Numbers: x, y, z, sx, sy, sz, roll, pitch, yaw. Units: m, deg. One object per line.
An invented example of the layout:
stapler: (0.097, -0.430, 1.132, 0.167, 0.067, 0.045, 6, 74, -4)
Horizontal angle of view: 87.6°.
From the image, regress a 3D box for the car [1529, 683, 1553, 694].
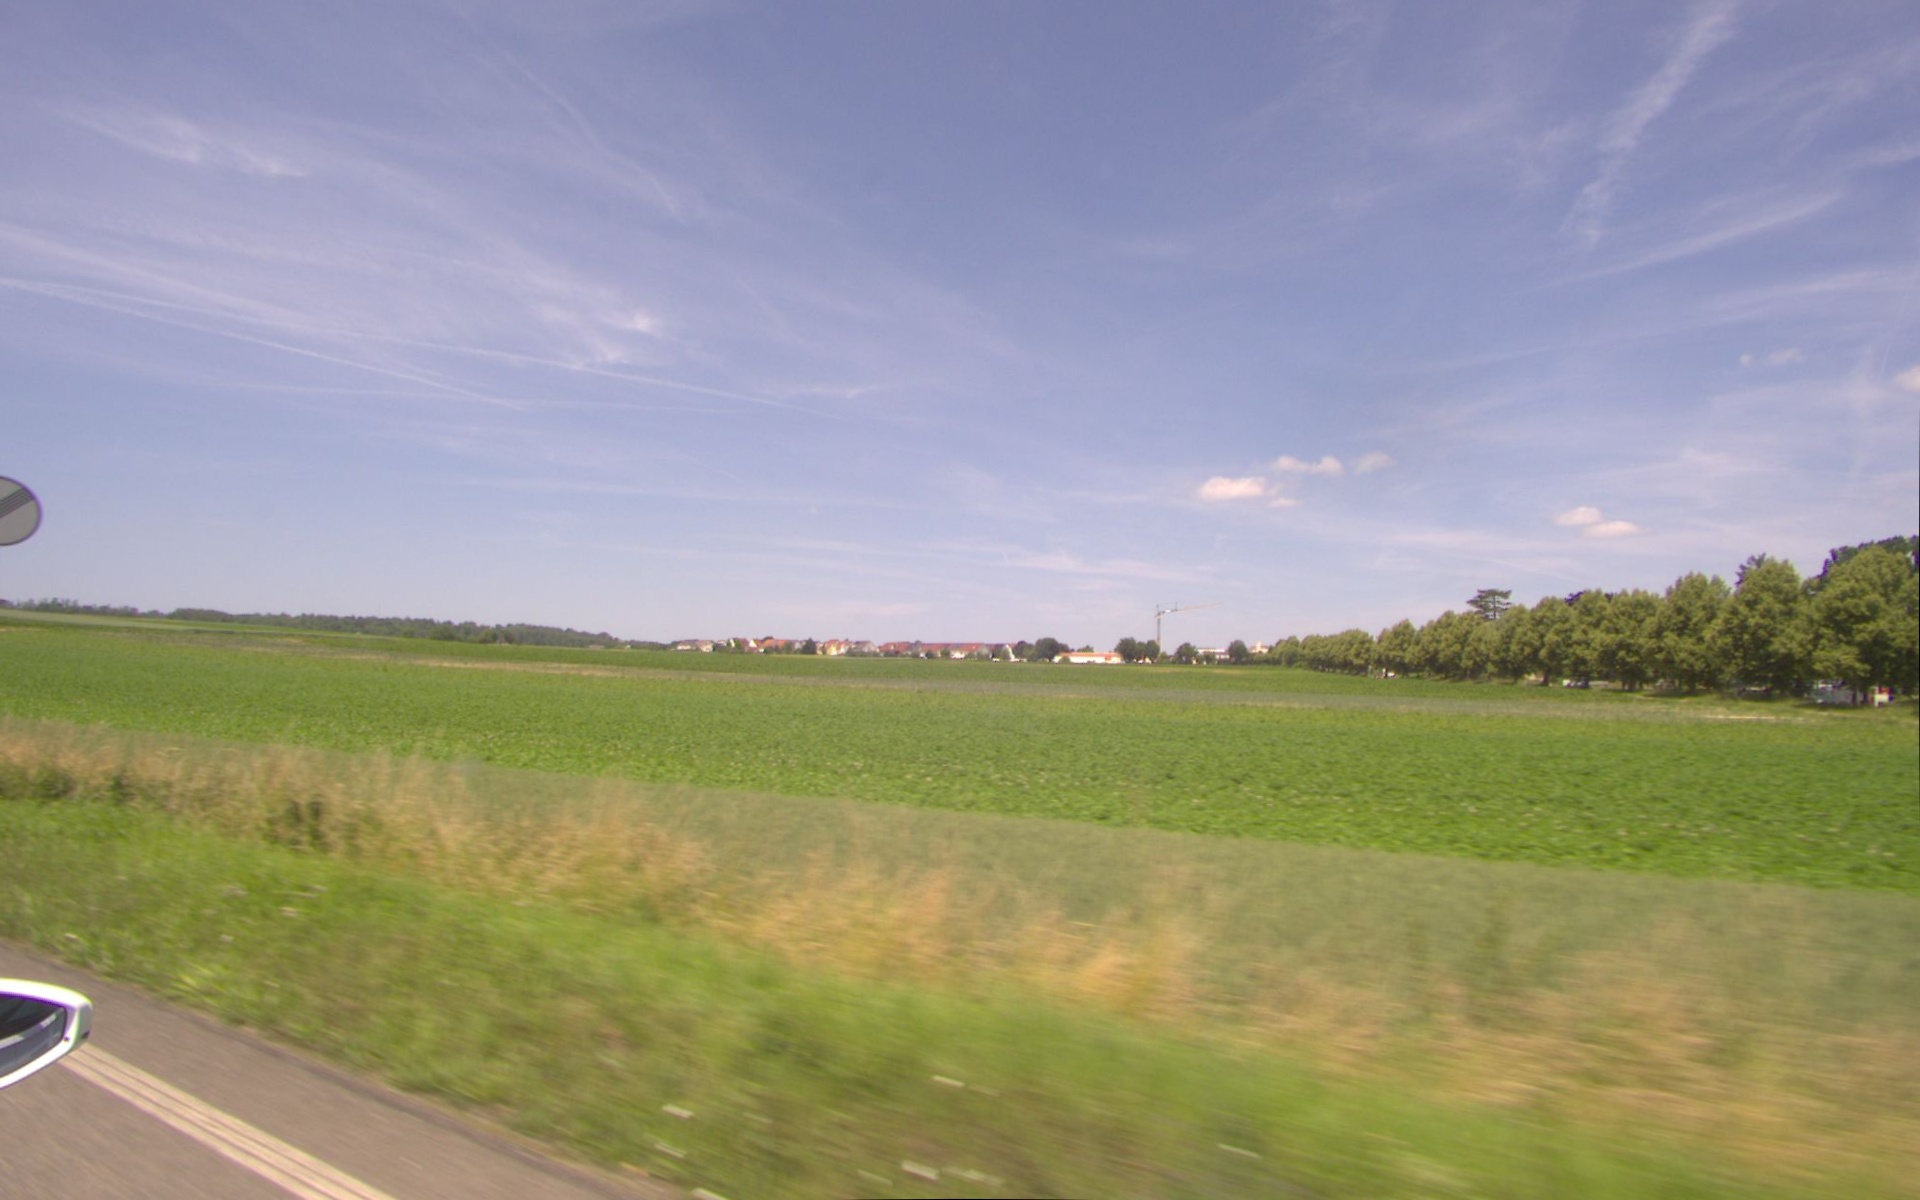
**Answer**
car: (91.269, 13.938, 157.403, 1.962, 1.668, 4.004, -1, -5, 9)
